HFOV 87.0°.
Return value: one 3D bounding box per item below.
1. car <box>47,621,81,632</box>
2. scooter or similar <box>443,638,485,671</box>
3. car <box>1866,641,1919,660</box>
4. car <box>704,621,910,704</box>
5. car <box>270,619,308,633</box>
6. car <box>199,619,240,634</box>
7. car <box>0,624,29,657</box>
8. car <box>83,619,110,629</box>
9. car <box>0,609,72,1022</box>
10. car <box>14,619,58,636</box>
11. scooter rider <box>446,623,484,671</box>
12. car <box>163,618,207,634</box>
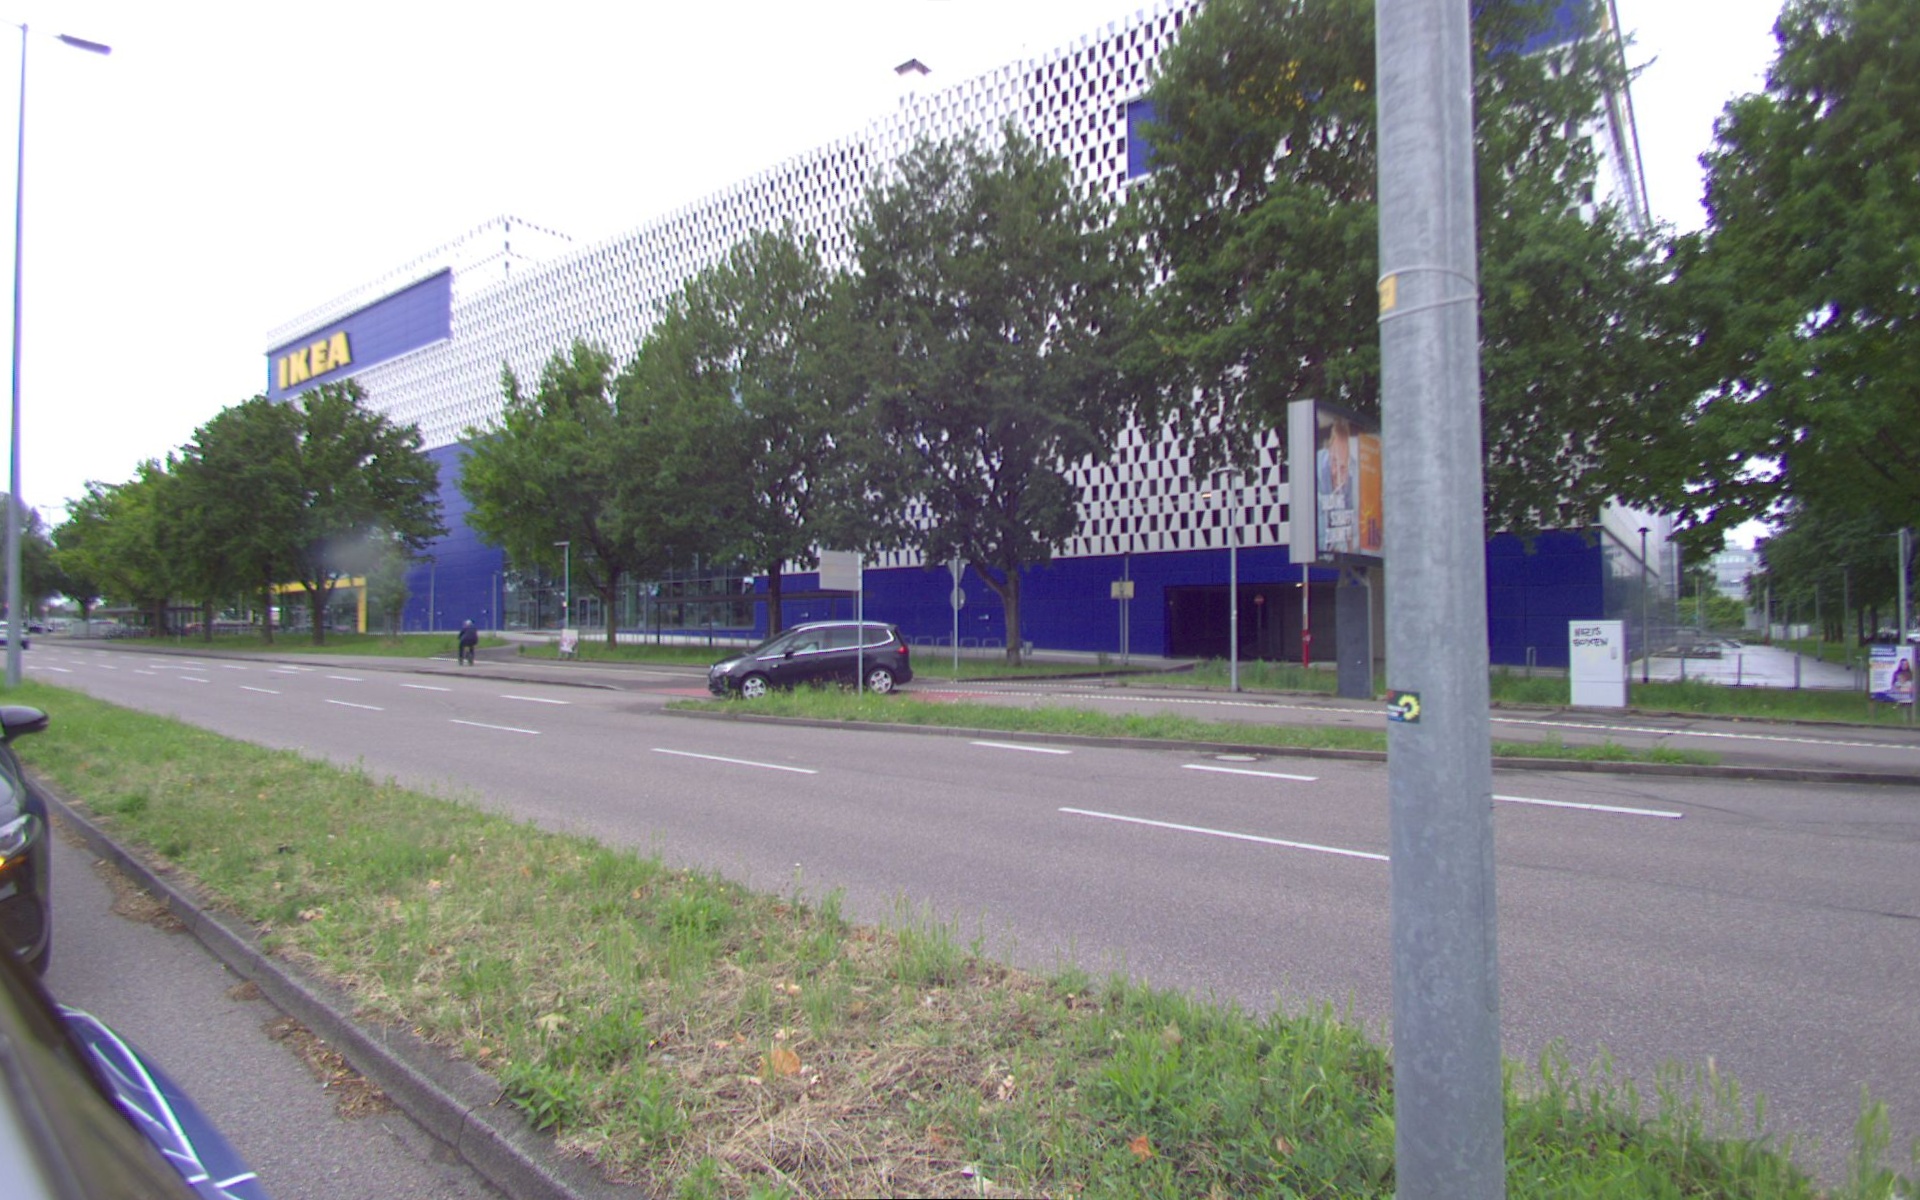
[{"bbox_3d":[-161.082,4.734,181.965,1.741,1.837,4.239,-1,0,37],"label":"car"},{"bbox_3d":[-18.141,1.974,36.997,1.417,1.134,0.585,-1,2,24],"label":"scooter or similar"},{"bbox_3d":[87.991,4.742,95.164,3.991,1.630,1.782,-1,0,35],"label":"car"},{"bbox_3d":[-3.447,1.341,22.672,4.286,1.668,1.854,0,-1,-18],"label":"car"},{"bbox_3d":[-93.374,3.557,140.887,1.994,1.829,3.956,-1,0,33],"label":"car"},{"bbox_3d":[-98.160,3.479,134.113,1.994,1.829,3.956,-1,0,33],"label":"car"},{"bbox_3d":[-57.712,2.443,60.993,3.921,1.900,1.824,-1,0,39],"label":"car"},{"bbox_3d":[-158.344,4.343,185.649,1.741,1.652,3.522,-1,0,37],"label":"car"},{"bbox_3d":[-5.428,0.826,4.392,4.194,1.445,1.835,-2,-1,41],"label":"car"},{"bbox_3d":[-118.445,3.531,129.770,1.998,2.029,3.948,-1,0,38],"label":"car"},{"bbox_3d":[-18.089,1.700,37.005,1.033,1.733,0.791,-1,-1,24],"label":"scooter rider"},{"bbox_3d":[-86.314,2.883,112.734,1.741,1.652,3.522,-1,0,37],"label":"car"}]
